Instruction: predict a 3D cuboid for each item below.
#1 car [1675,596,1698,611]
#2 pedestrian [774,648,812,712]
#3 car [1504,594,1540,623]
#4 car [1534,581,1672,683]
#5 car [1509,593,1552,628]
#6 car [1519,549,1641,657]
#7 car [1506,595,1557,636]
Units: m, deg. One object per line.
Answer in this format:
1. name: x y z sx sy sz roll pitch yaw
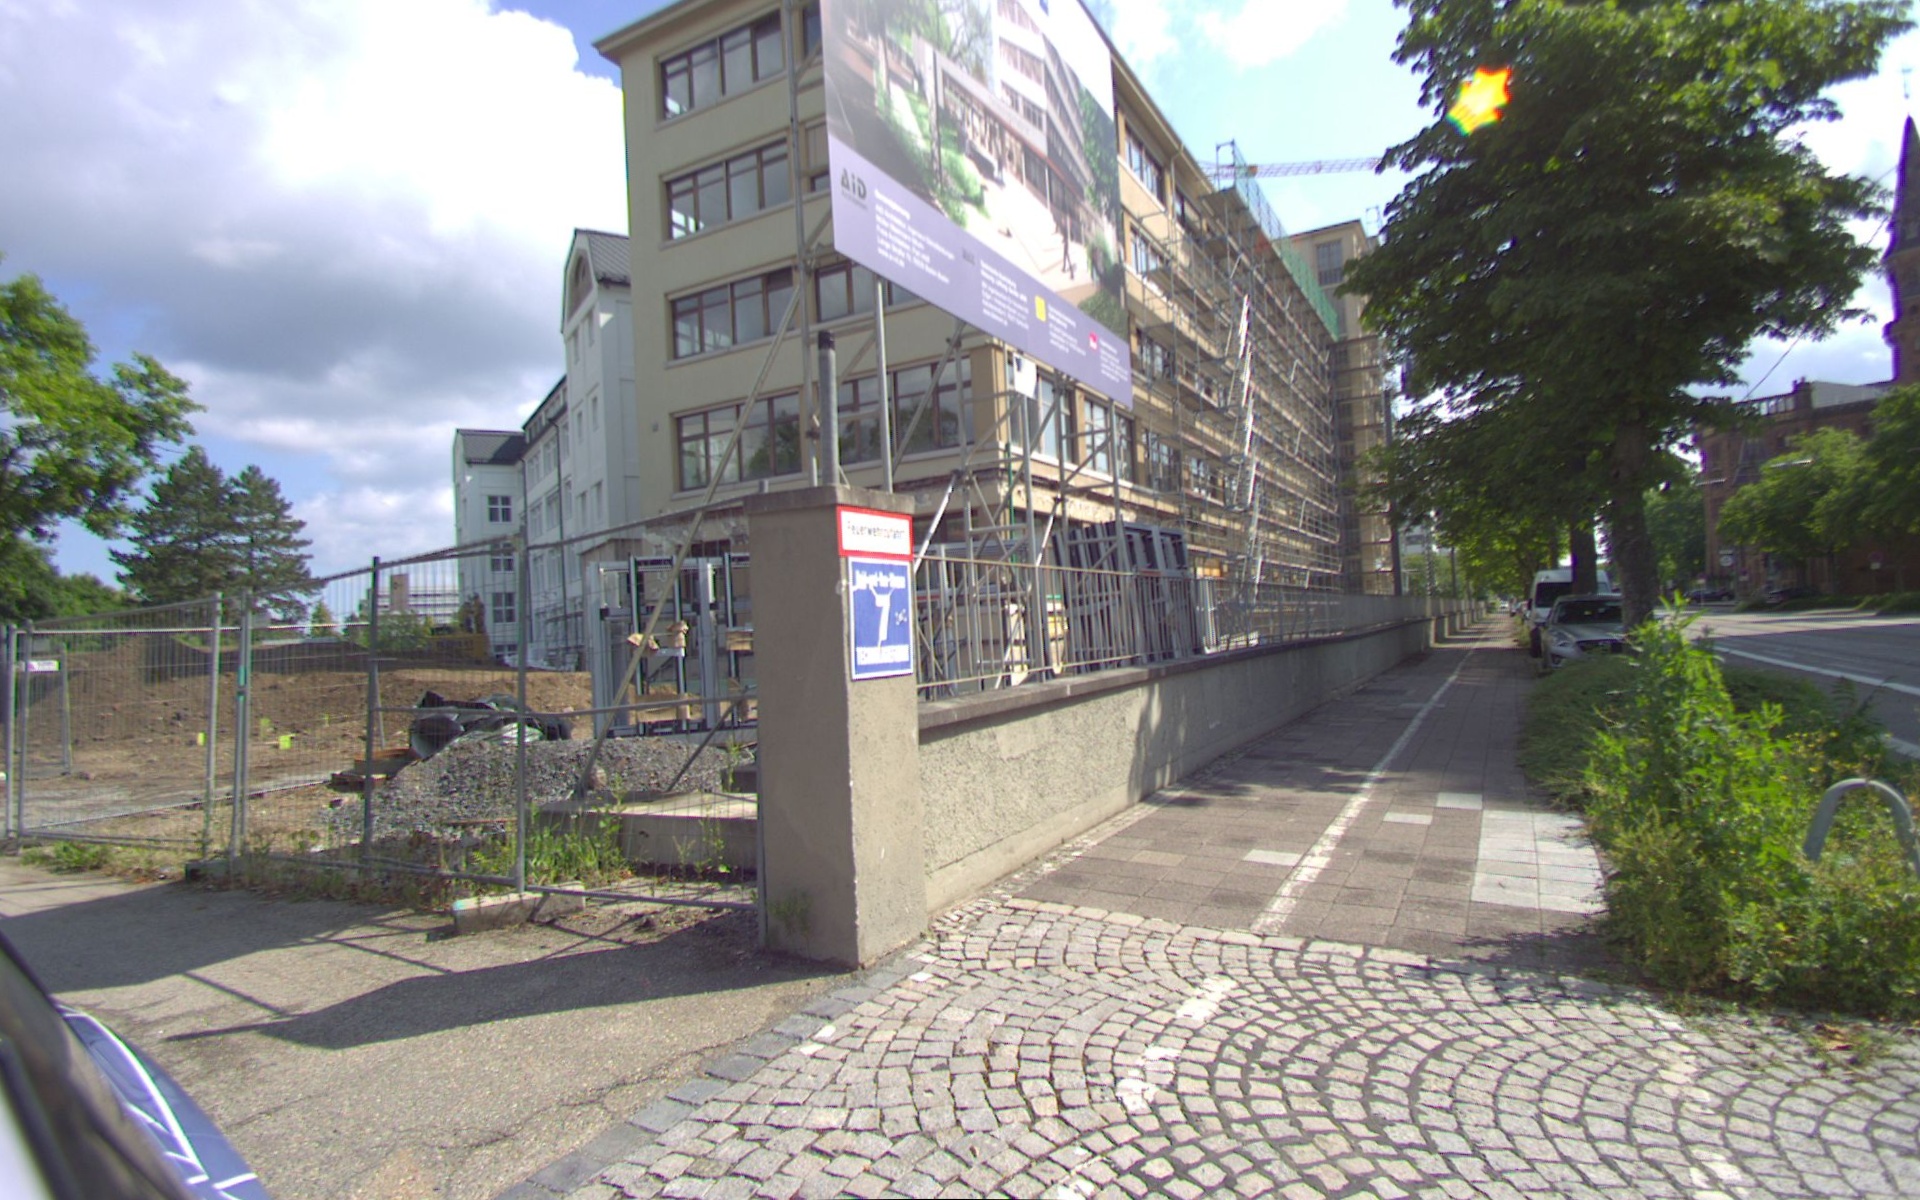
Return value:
1. car: 79.959 0.422 111.441 1.623 1.586 3.912 -1 0 29
2. pedestrian: -3.603 1.718 21.765 0.455 1.322 0.637 -5 -1 -34
3. car: 35.918 0.506 64.788 1.743 1.618 4.196 -8 -3 28
4. car: 12.264 0.571 19.555 1.743 1.618 4.196 -8 -3 28
5. car: 31.134 0.552 55.306 1.743 1.618 4.196 -8 -3 28
6. car: 17.463 0.100 28.797 2.328 2.579 5.339 -8 -3 28
7. car: 26.042 0.667 46.223 1.743 1.618 4.196 -8 -3 28
